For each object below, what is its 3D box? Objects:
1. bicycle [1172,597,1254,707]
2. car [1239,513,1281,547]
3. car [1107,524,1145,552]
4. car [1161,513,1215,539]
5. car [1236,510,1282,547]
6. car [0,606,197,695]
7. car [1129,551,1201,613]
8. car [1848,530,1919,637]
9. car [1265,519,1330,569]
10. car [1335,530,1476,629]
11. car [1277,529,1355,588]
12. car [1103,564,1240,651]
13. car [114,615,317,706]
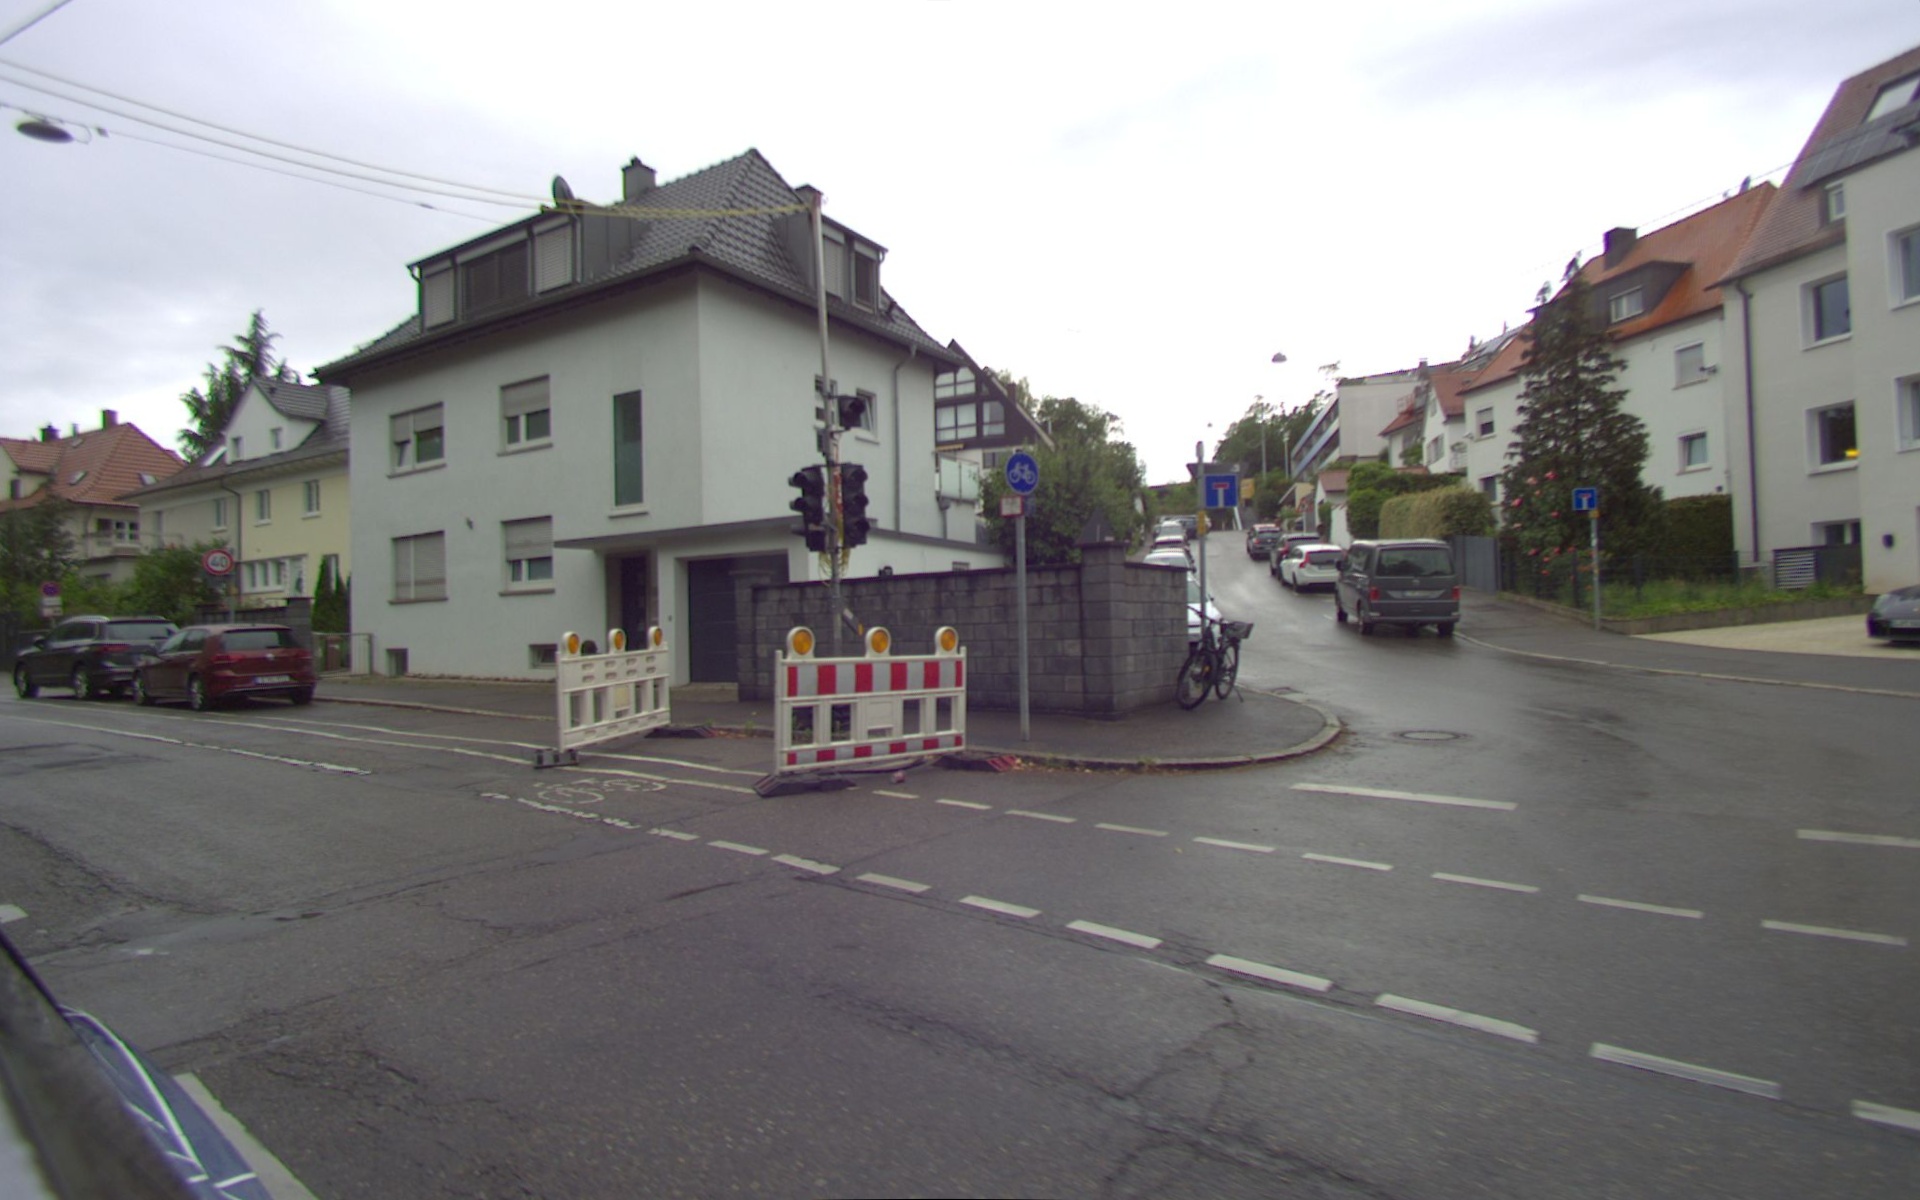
[{"bbox_3d":[2.969,0.564,11.781,0.462,1.132,1.502,0,2,33],"label":"bicycle"},{"bbox_3d":[16.525,-3.904,55.921,1.849,1.758,3.988,-1,4,11],"label":"car"},{"bbox_3d":[11.046,-4.091,67.496,1.865,1.733,3.999,-1,2,1],"label":"car"},{"bbox_3d":[17.276,-5.589,76.666,3.960,1.733,1.884,-1,2,14],"label":"car"},{"bbox_3d":[15.173,-3.644,51.531,1.849,1.758,3.988,-1,4,11],"label":"car"},{"bbox_3d":[-17.977,1.053,20.989,4.383,1.671,1.743,-2,-3,28],"label":"car"},{"bbox_3d":[6.108,-0.576,30.524,1.869,1.733,3.990,-1,2,8],"label":"car"},{"bbox_3d":[15.533,-0.302,14.917,3.755,1.519,1.739,-2,0,-13],"label":"car"},{"bbox_3d":[12.798,-2.178,38.583,1.849,1.758,3.988,-1,4,11],"label":"car"},{"bbox_3d":[9.675,-0.535,22.316,1.979,1.933,3.988,-1,4,11],"label":"car"},{"bbox_3d":[11.657,-1.416,33.359,1.849,1.758,3.988,-1,4,11],"label":"car"},{"bbox_3d":[3.983,0.063,19.745,1.865,1.477,3.999,-1,2,1],"label":"car"},{"bbox_3d":[-13.476,1.066,18.237,4.218,1.451,1.603,-2,-1,34],"label":"car"}]
